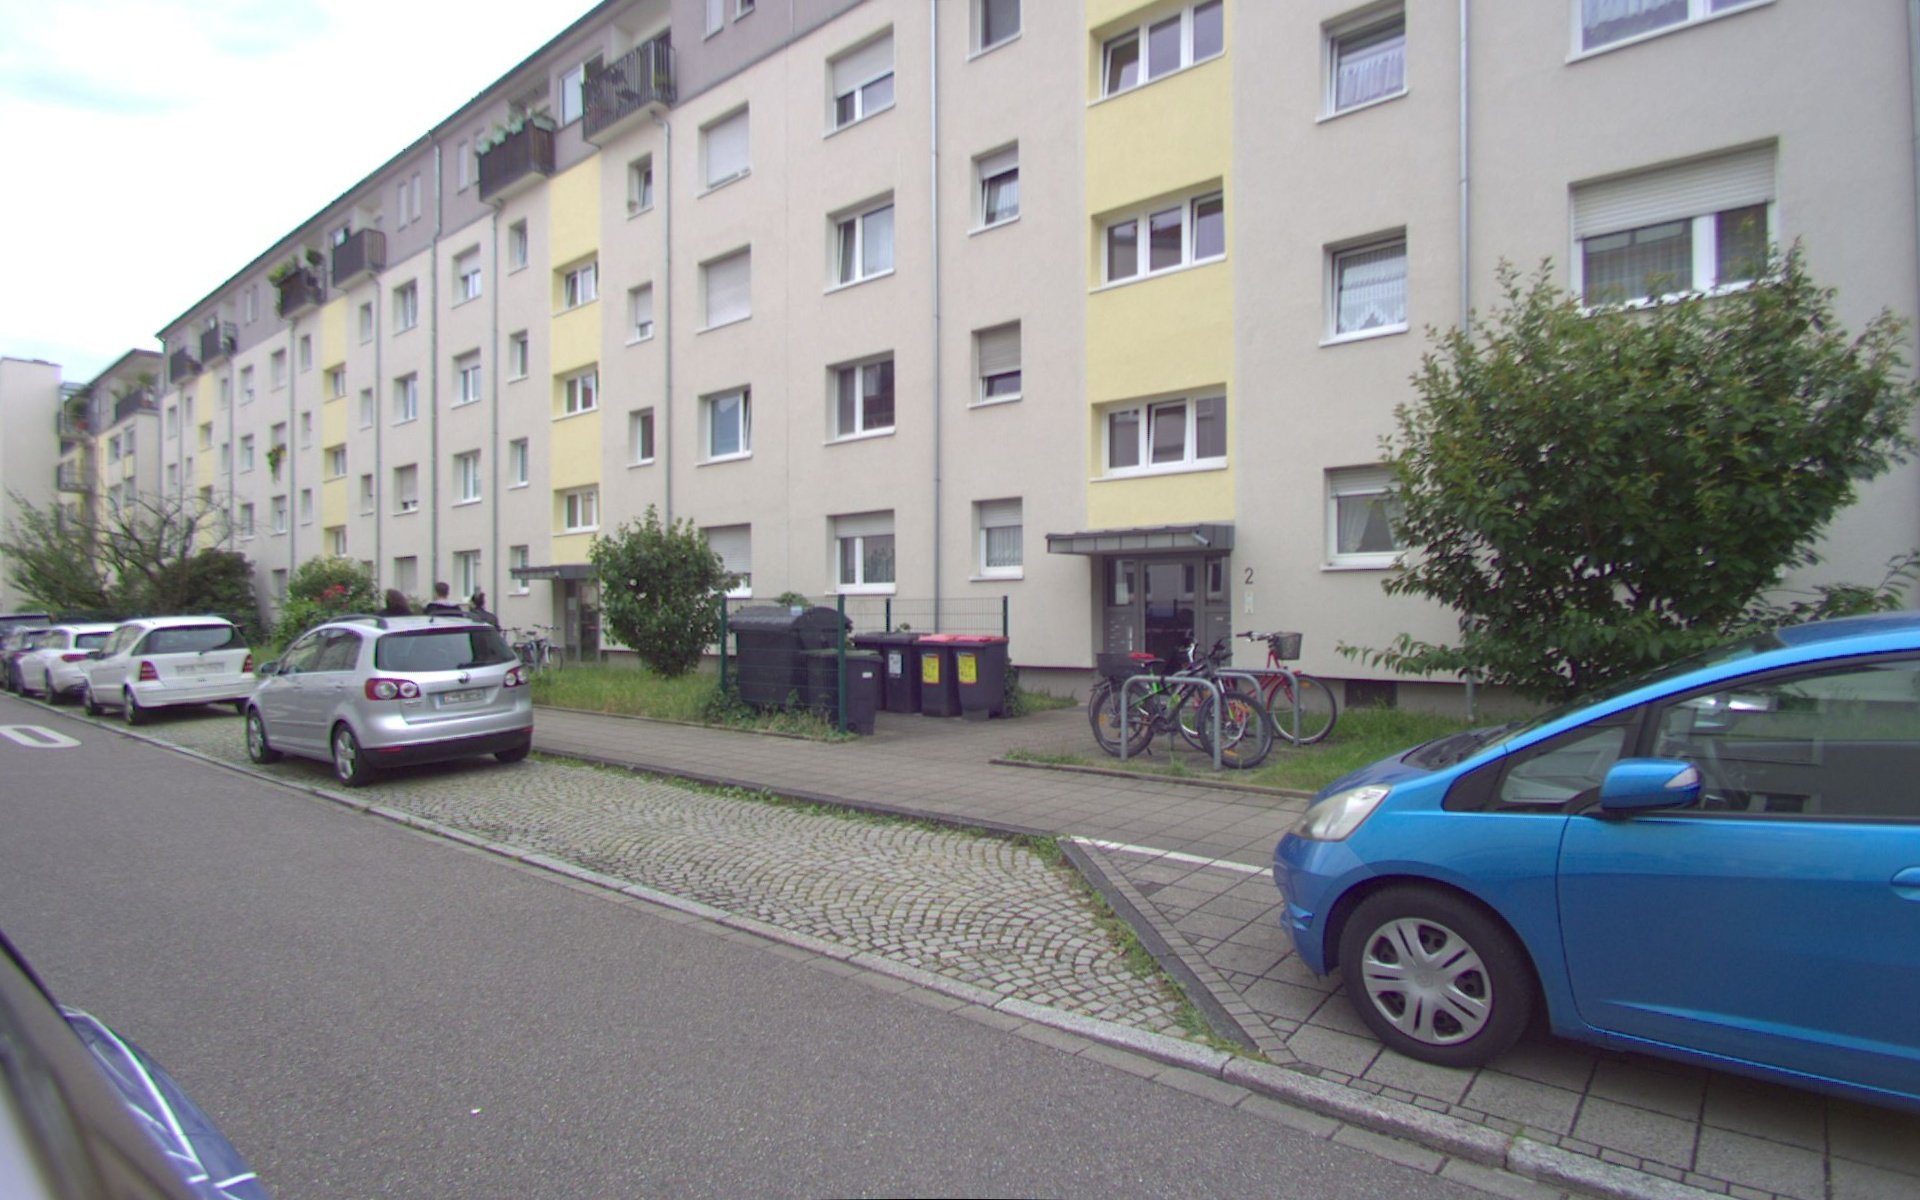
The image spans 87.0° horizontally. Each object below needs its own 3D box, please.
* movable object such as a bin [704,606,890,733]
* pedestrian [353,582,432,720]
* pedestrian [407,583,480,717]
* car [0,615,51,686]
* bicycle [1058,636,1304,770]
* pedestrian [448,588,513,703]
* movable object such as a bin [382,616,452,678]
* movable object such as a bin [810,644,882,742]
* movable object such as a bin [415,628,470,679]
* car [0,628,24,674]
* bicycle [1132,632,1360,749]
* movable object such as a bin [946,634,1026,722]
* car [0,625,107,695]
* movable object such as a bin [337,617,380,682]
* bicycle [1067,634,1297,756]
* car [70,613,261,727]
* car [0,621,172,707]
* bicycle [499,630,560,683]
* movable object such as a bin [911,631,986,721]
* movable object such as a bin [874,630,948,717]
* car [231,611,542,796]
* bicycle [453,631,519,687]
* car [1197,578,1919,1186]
[{"bbox_3d":[-2.024,0.813,12.587,1.669,1.432,1.573,-2,-1,39],"label":"movable object such as a bin"},{"bbox_3d":[-8.078,0.707,14.400,0.973,1.877,0.633,-2,0,40],"label":"pedestrian"},{"bbox_3d":[-7.429,0.704,14.563,0.762,1.868,0.699,-2,-2,40],"label":"pedestrian"},{"bbox_3d":[-25.992,1.338,27.276,4.447,1.793,1.555,-2,-2,39],"label":"car"},{"bbox_3d":[1.949,0.877,9.180,2.121,1.076,0.650,-2,-2,41],"label":"bicycle"},{"bbox_3d":[-7.195,0.666,15.187,0.802,1.669,0.608,-2,-2,40],"label":"pedestrian"},{"bbox_3d":[-12.743,1.075,23.758,1.187,1.385,1.047,0,0,35],"label":"movable object such as a bin"},{"bbox_3d":[-1.273,1.023,11.329,0.597,1.041,0.531,-2,-2,39],"label":"movable object such as a bin"},{"bbox_3d":[-11.842,1.208,23.170,0.786,1.117,0.861,0,0,36],"label":"movable object such as a bin"},{"bbox_3d":[-30.973,1.611,31.923,3.537,1.407,1.556,-2,-2,38],"label":"car"},{"bbox_3d":[2.895,0.884,10.432,2.174,1.079,0.651,-2,-2,41],"label":"bicycle"},{"bbox_3d":[0.335,0.972,12.902,0.633,1.059,0.855,-2,-2,39],"label":"movable object such as a bin"},{"bbox_3d":[-21.402,1.316,23.372,4.476,1.464,1.709,-1,-1,38],"label":"car"},{"bbox_3d":[-13.268,1.084,22.318,0.586,1.378,0.651,0,0,36],"label":"movable object such as a bin"},{"bbox_3d":[2.140,0.883,10.012,2.174,1.079,0.651,-2,-2,41],"label":"bicycle"},{"bbox_3d":[-13.051,1.070,16.563,3.723,1.651,1.669,-1,-1,39],"label":"car"},{"bbox_3d":[-17.403,1.217,20.083,4.680,1.521,1.702,-2,-2,38],"label":"car"},{"bbox_3d":[-8.685,1.126,20.404,1.556,1.032,0.416,-2,-1,37],"label":"bicycle"},{"bbox_3d":[-0.144,0.973,13.316,0.597,1.125,0.834,-2,-2,38],"label":"movable object such as a bin"},{"bbox_3d":[-0.664,0.972,13.729,0.597,1.125,0.834,-2,-2,38],"label":"movable object such as a bin"},{"bbox_3d":[-6.224,0.966,10.801,3.913,1.562,1.637,-2,0,41],"label":"car"},{"bbox_3d":[-9.262,1.131,19.746,1.753,1.032,0.473,-2,-2,40],"label":"bicycle"},{"bbox_3d":[2.950,0.687,3.125,3.954,1.473,1.713,-2,1,40],"label":"car"}]
